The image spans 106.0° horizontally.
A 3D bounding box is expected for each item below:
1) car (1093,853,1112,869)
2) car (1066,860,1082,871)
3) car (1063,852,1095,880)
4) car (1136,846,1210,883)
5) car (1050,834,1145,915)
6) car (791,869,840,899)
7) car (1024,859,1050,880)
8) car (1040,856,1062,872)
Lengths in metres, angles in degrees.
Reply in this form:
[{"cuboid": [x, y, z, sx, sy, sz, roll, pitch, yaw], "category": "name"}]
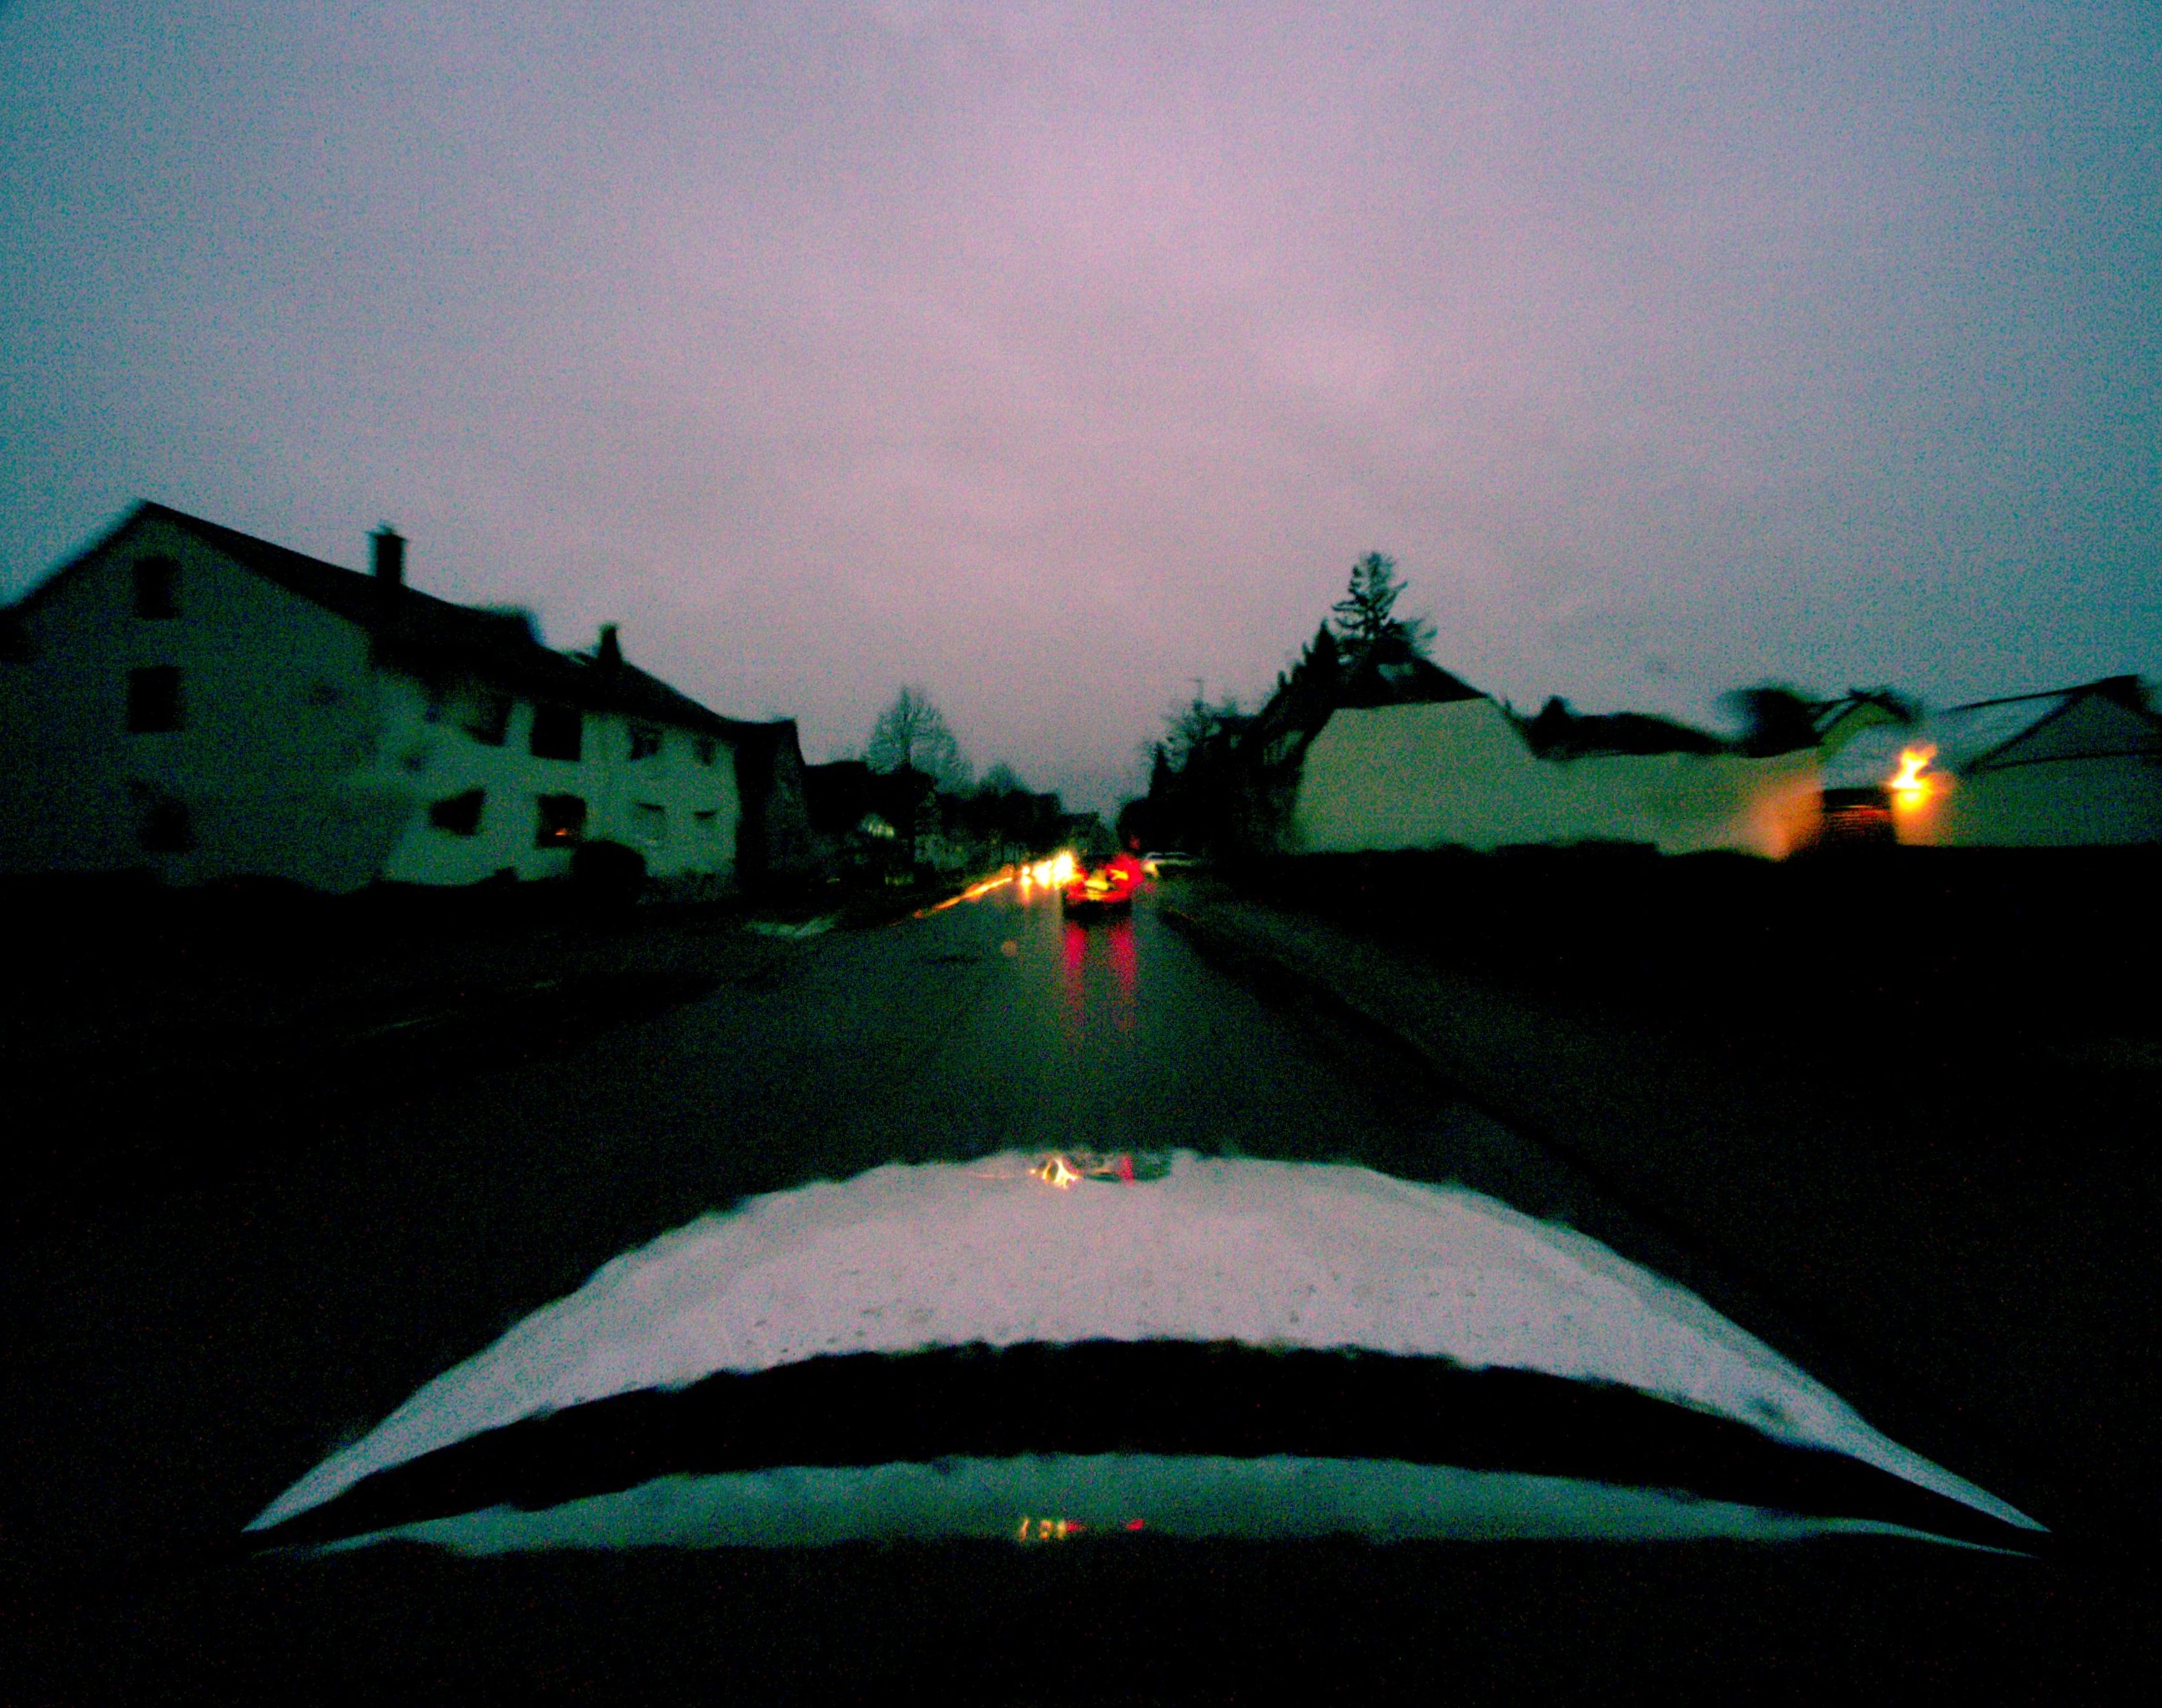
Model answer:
[{"cuboid": [2.835, 0.956, 108.245, 2.302, 1.938, 5.017, -2, -1, 0], "category": "car"}, {"cuboid": [-0.893, 1.430, 101.991, 1.835, 1.331, 3.939, -3, 0, 2], "category": "car"}, {"cuboid": [-0.139, 0.712, 50.275, 1.852, 1.647, 3.998, -1, 0, -1], "category": "car"}, {"cuboid": [5.479, 0.631, 48.934, 4.228, 2.013, 1.813, -3, 0, 4], "category": "car"}, {"cuboid": [0.400, 0.544, 22.880, 2.302, 1.938, 5.016, -2, -1, -1], "category": "car"}, {"cuboid": [-13.144, 1.474, 40.576, 1.777, 1.393, 3.985, 0, -1, -10], "category": "car"}, {"cuboid": [-3.637, 1.261, 68.416, 1.907, 1.522, 4.000, -2, 1, 0], "category": "car"}, {"cuboid": [-2.999, 1.017, 83.388, 1.905, 1.431, 4.003, -2, 2, 2], "category": "car"}]
